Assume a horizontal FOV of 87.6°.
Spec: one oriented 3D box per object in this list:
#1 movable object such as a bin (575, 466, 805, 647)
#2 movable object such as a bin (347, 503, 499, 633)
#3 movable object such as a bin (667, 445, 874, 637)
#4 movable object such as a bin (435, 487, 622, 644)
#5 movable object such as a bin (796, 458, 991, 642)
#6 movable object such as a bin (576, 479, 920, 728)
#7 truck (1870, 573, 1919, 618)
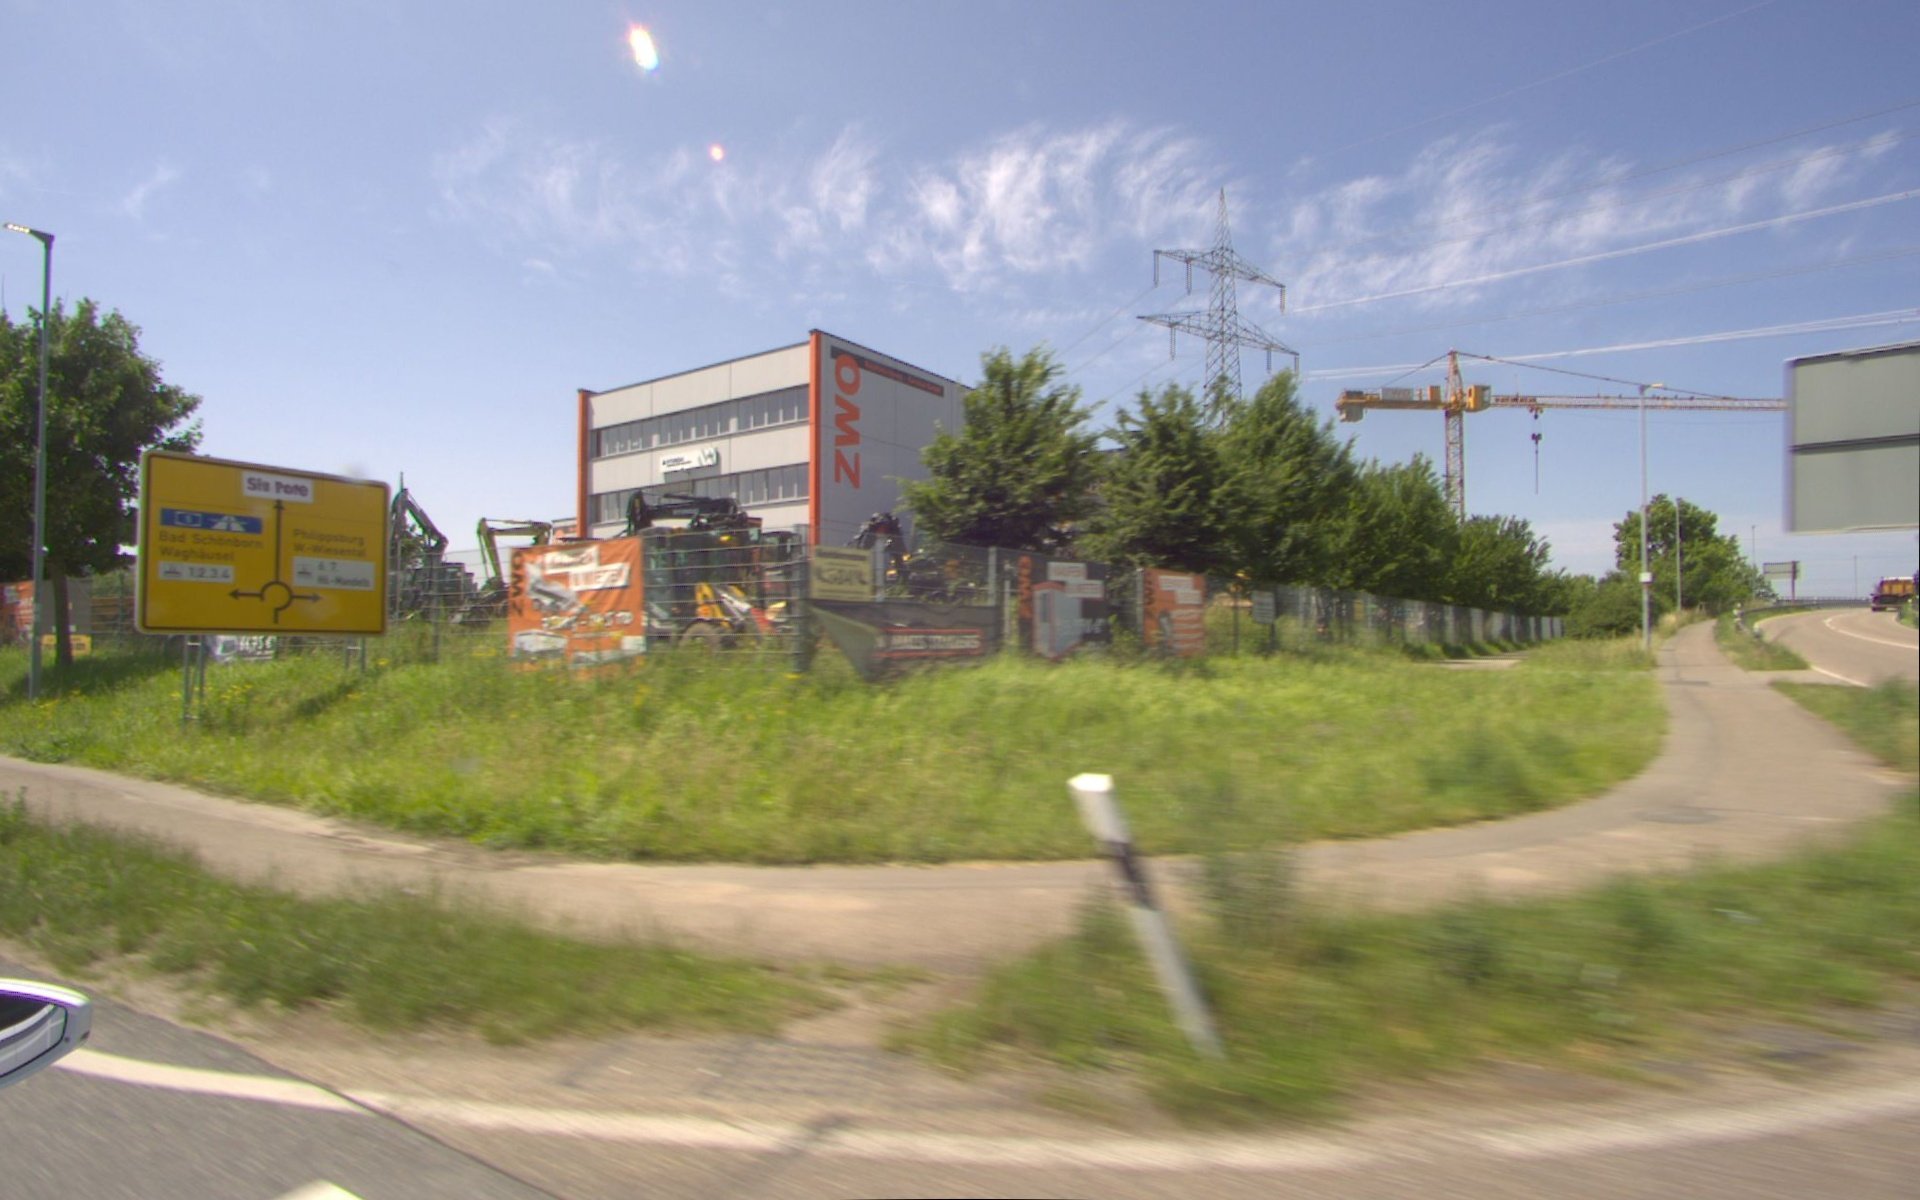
[{"bbox_3d":[-8.900,-1.125,33.688,3.757,5.209,6.578,-2,-5,35],"label":"movable object such as a bin"},{"bbox_3d":[-23.431,-1.233,43.880,2.742,5.115,5.074,-2,-4,35],"label":"movable object such as a bin"},{"bbox_3d":[-5.786,-1.537,31.429,3.068,5.166,5.906,-2,-5,35],"label":"movable object such as a bin"},{"bbox_3d":[-16.393,-1.080,38.370,3.179,5.332,5.705,-2,-5,35],"label":"movable object such as a bin"},{"bbox_3d":[-1.700,-1.113,27.453,2.797,4.326,5.074,-2,-5,35],"label":"movable object such as a bin"},{"bbox_3d":[-3.334,0.209,15.540,5.030,3.289,2.320,-3,-4,32],"label":"movable object such as a bin"},{"bbox_3d":[89.131,-0.324,95.467,3.013,3.630,8.357,-4,-6,45],"label":"truck"}]
